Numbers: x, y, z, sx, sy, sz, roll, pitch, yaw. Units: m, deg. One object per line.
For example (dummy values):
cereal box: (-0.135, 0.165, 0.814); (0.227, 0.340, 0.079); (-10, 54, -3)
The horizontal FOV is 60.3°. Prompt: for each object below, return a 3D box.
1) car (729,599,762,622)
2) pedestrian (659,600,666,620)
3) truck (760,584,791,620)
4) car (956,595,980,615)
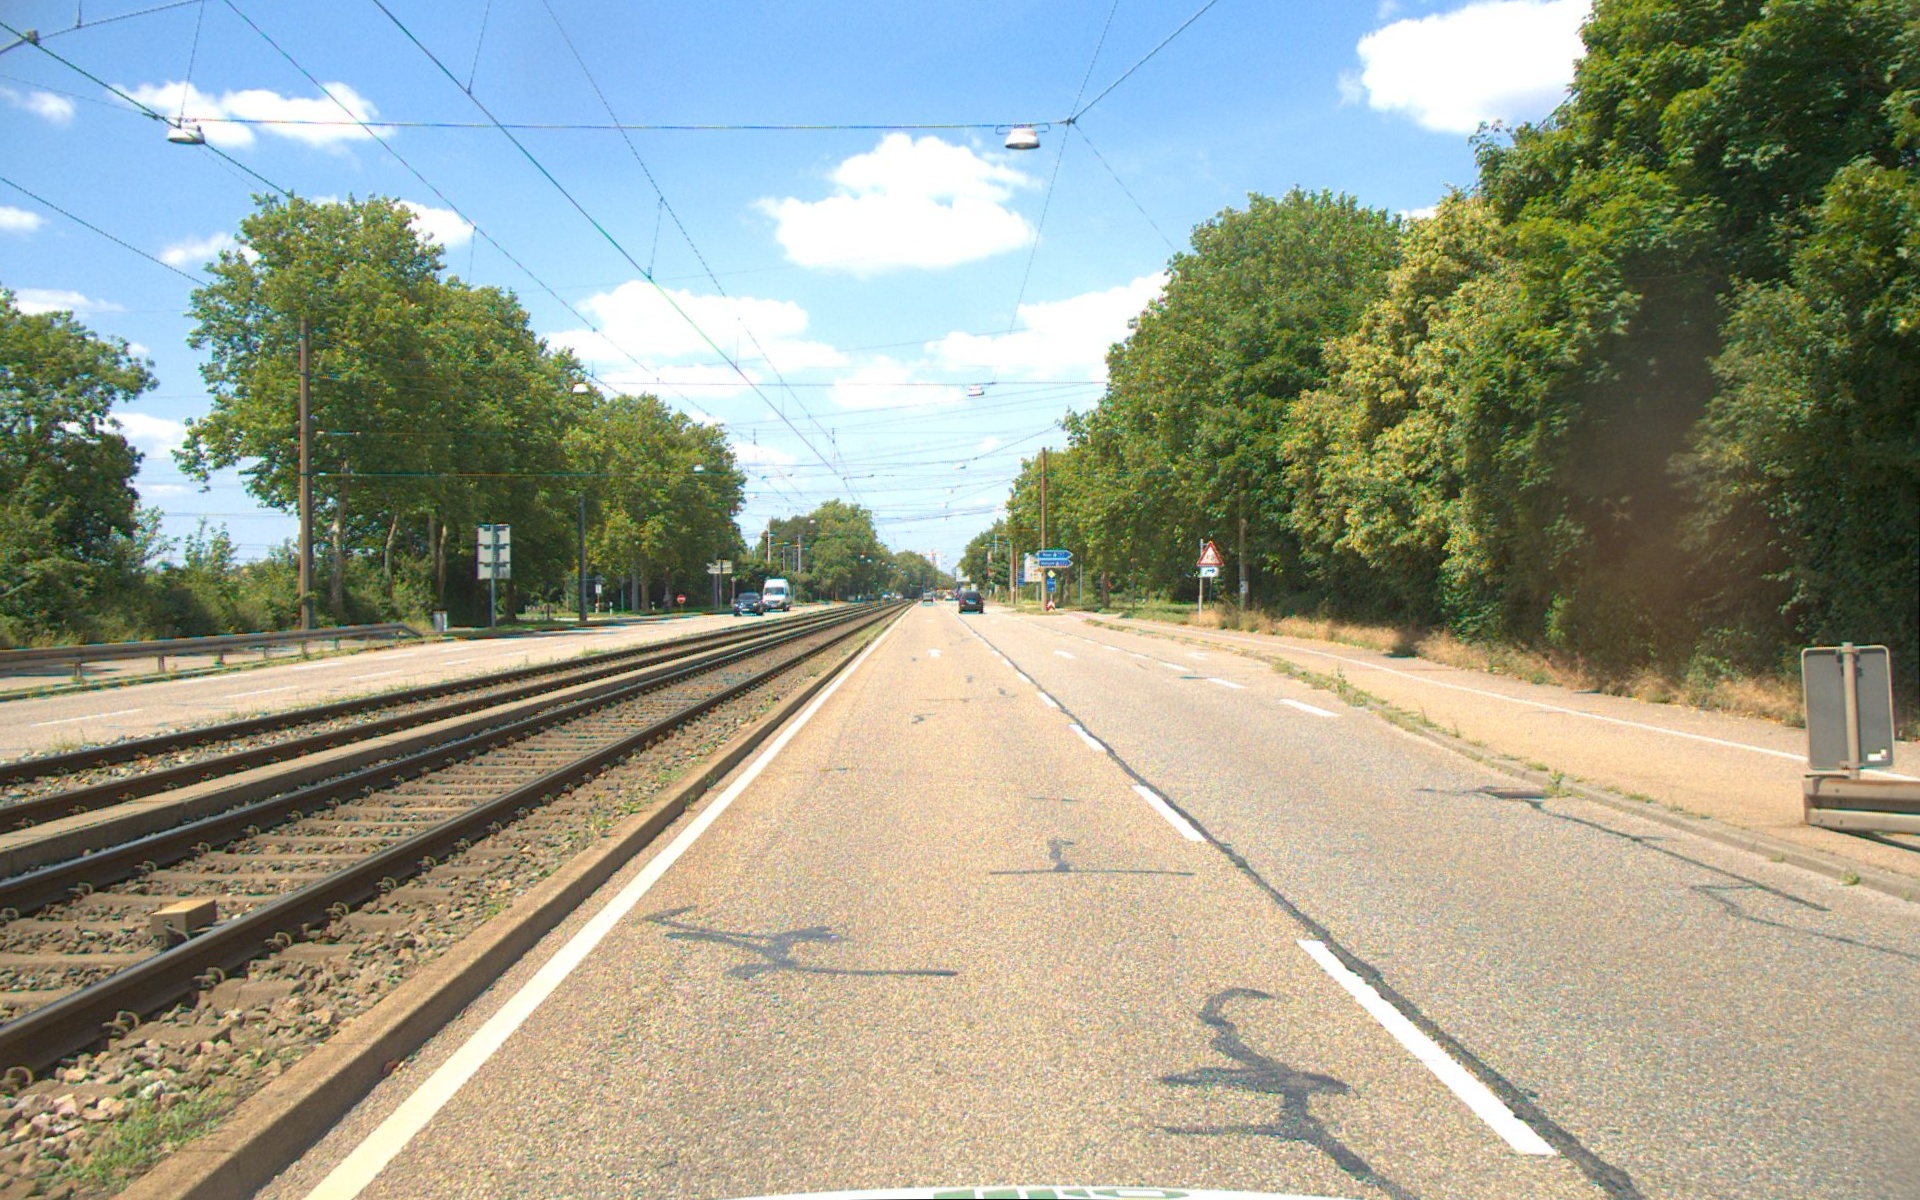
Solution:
car: (-15.168, 0.737, 117.314); (1.781, 1.540, 4.427); (-2, 0, -1)
pedestrian: (-23.731, 0.780, 131.951); (0.503, 1.578, 0.703); (-2, 0, -7)
truck: (-15.930, 0.127, 143.275); (2.012, 2.990, 6.318); (-2, 0, -1)
car: (0.583, 0.365, 118.860); (1.554, 1.366, 3.271); (-1, 1, -3)
